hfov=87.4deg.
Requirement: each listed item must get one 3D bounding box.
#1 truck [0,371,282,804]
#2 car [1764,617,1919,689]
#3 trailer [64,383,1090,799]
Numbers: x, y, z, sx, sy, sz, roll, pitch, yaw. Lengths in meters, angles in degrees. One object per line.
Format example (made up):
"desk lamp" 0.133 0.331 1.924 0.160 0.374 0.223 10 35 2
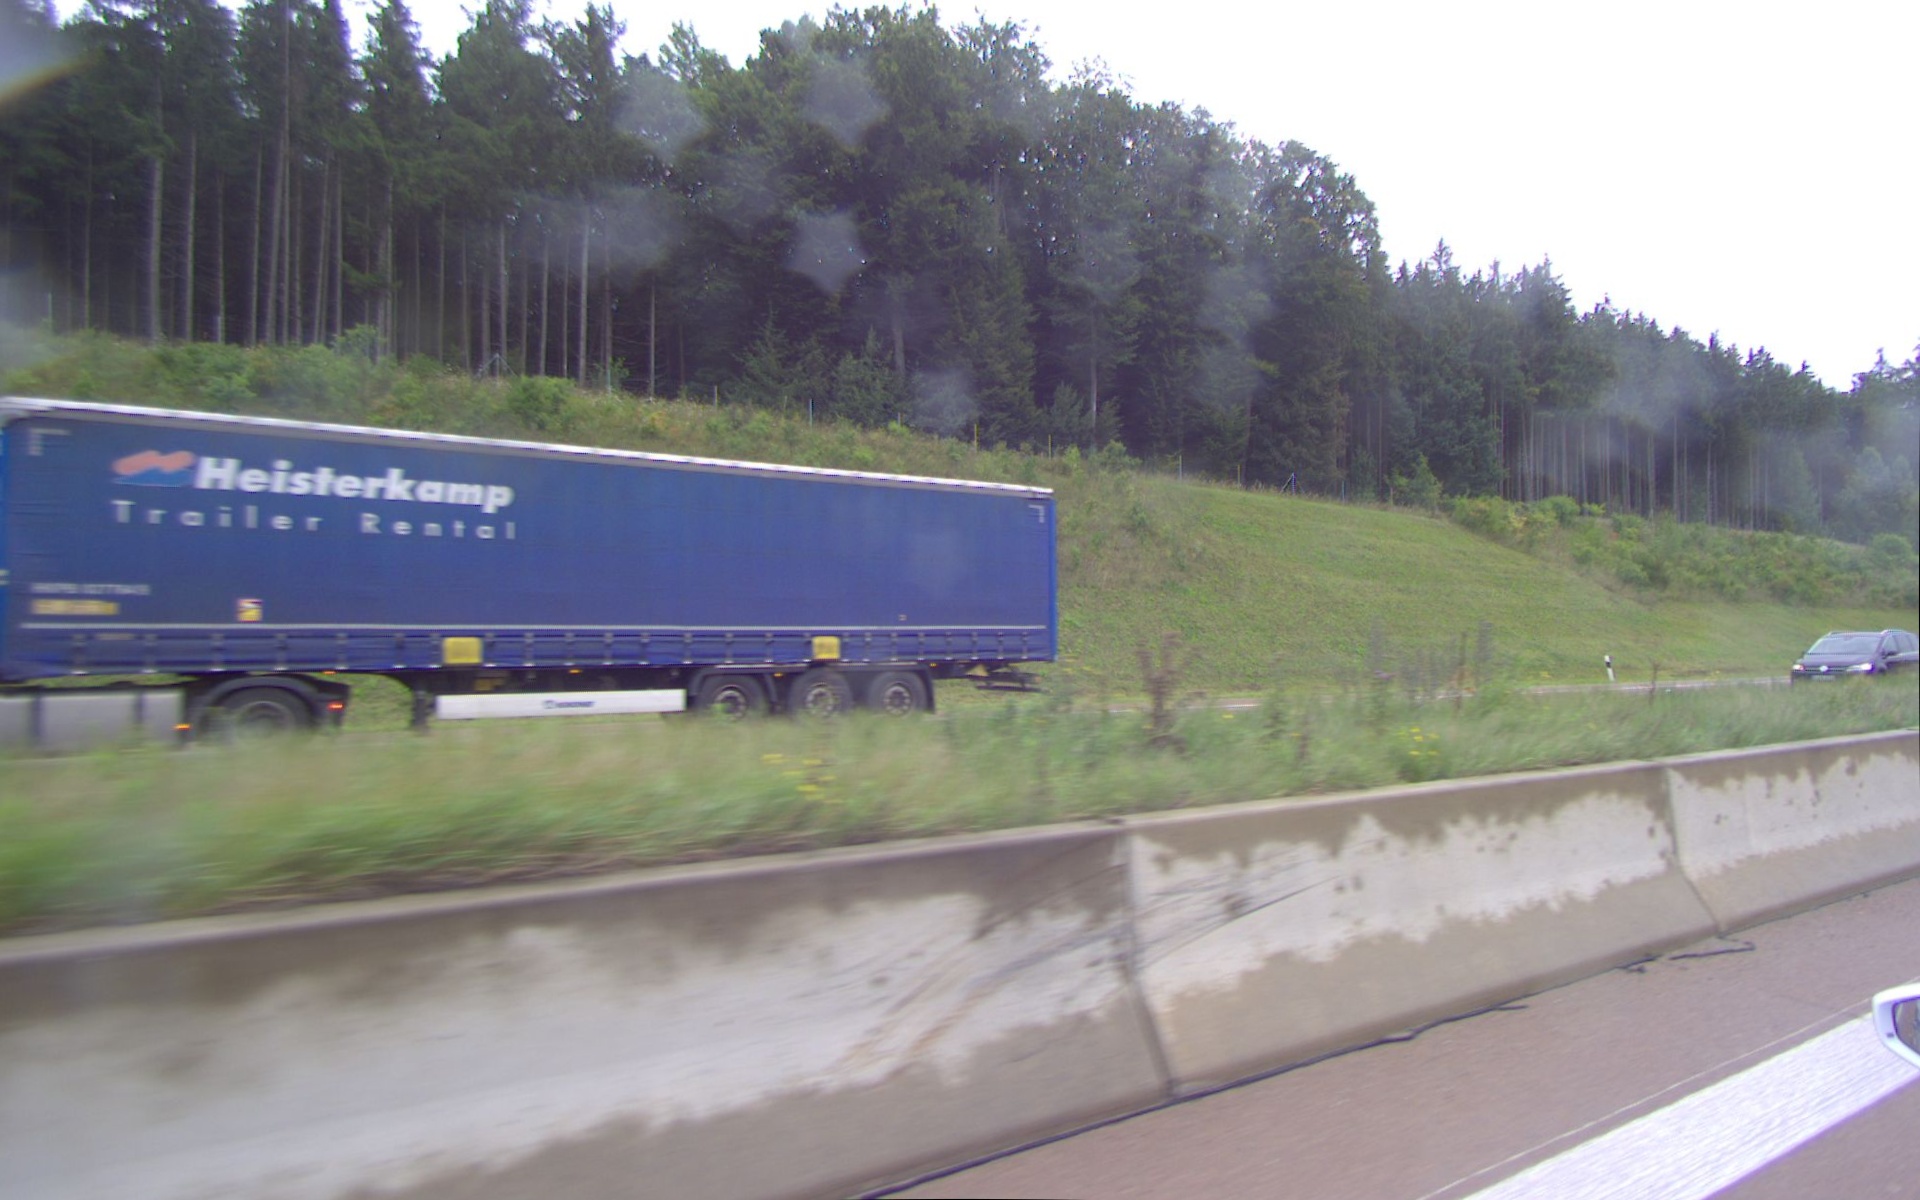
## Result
"truck" -11.902 -0.154 10.786 7.317 4.447 2.910 2 -2 -30
"car" 24.283 1.380 27.411 5.033 1.790 1.984 1 0 -30
"trailer" -4.279 0.144 15.244 13.421 4.396 2.905 2 -2 -30
